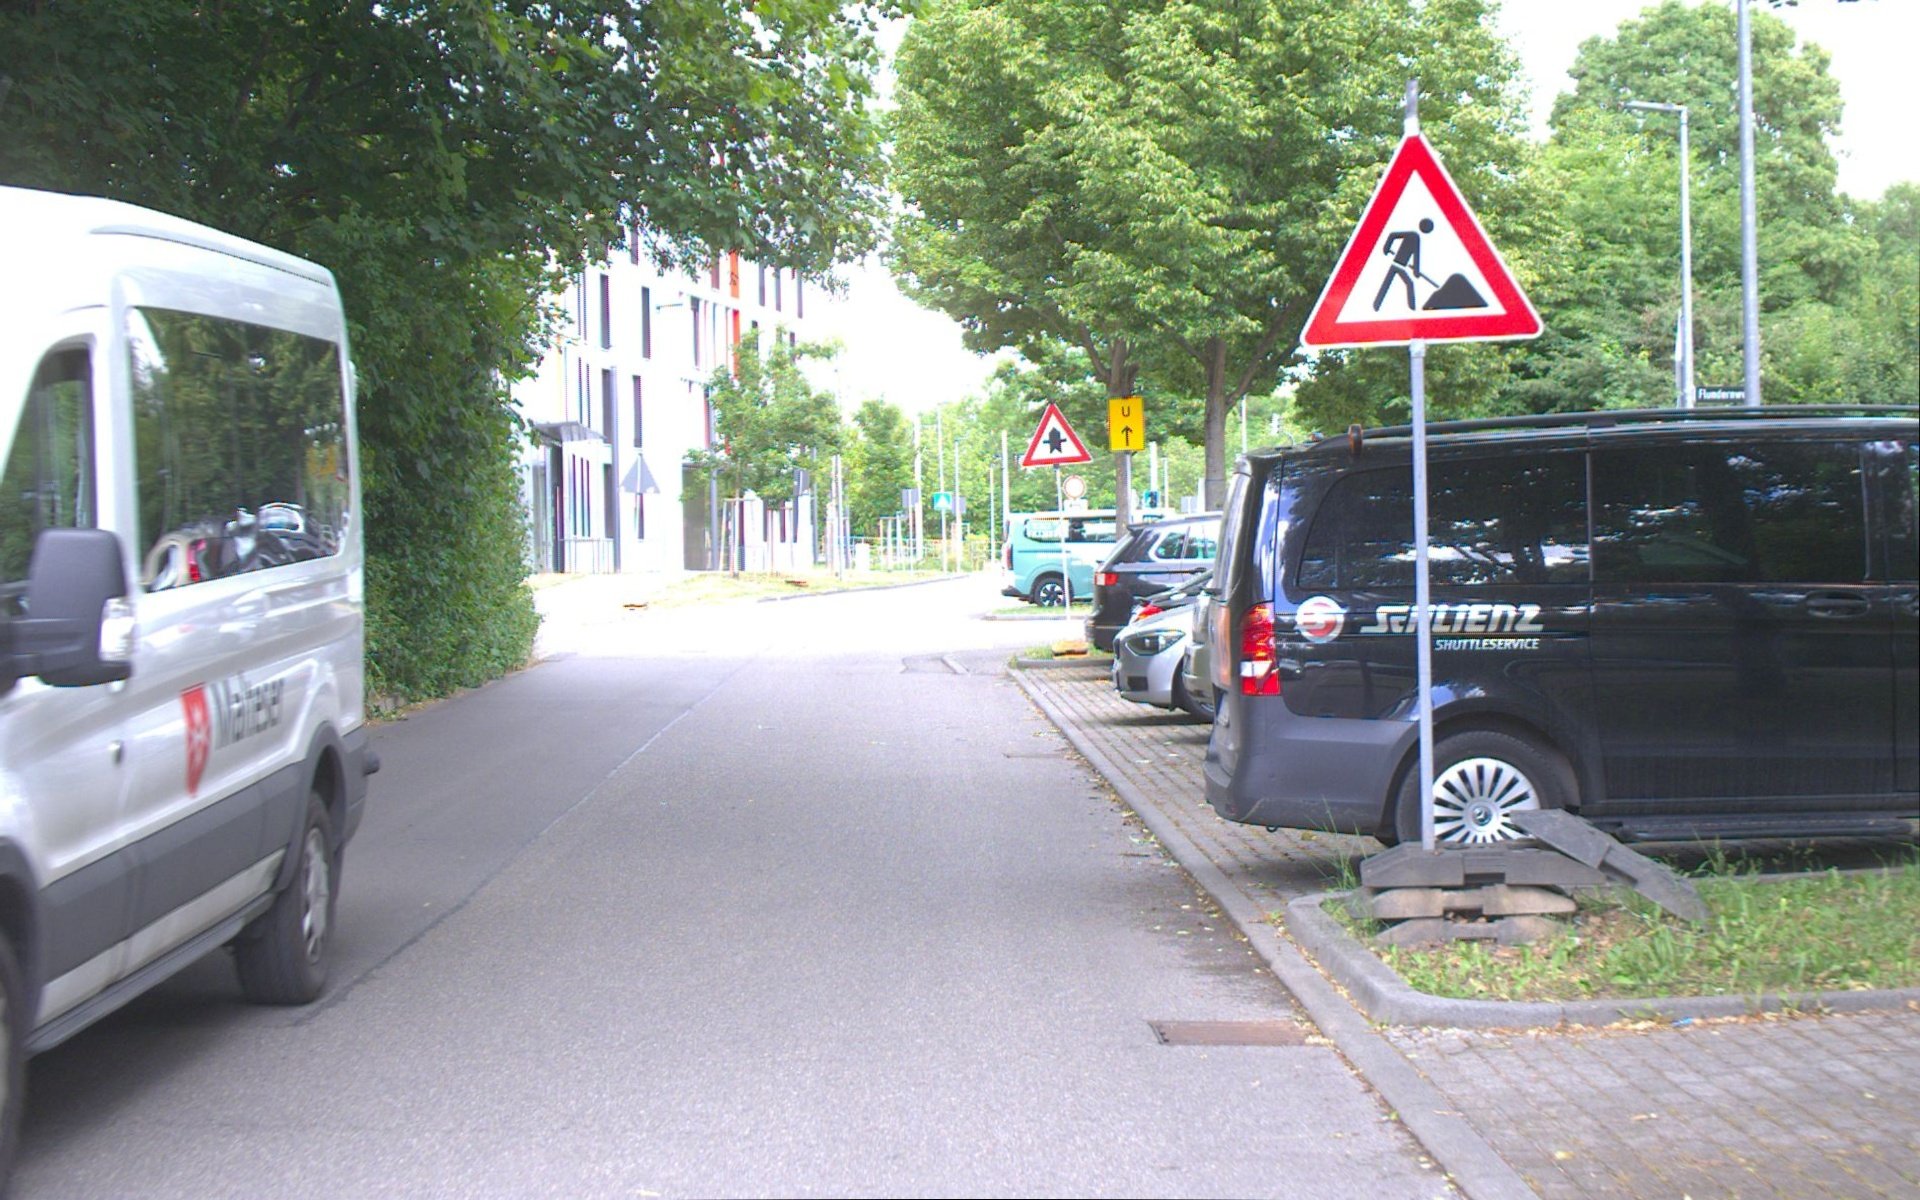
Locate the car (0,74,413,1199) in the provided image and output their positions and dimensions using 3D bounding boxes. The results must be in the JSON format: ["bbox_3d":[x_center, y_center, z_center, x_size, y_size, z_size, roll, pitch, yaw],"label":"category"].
[{"bbox_3d":[-3.056,0.088,9.212,2.132,2.467,6.277,1,1,0],"label":"car"}]

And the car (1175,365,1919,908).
[{"bbox_3d":[3.503,0.068,14.674,4.954,2.007,2.166,-3,1,0],"label":"car"}]

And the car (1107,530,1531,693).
[{"bbox_3d":[3.336,0.098,32.510,3.832,1.354,1.822,-2,0,3],"label":"car"}]

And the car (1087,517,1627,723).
[{"bbox_3d":[3.086,0.144,27.335,3.987,1.425,1.936,-2,0,-1],"label":"car"}]

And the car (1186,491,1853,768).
[{"bbox_3d":[3.513,0.166,22.120,3.961,1.506,1.763,-3,1,1],"label":"car"}]

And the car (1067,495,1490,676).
[{"bbox_3d":[3.206,-0.150,35.147,4.124,1.644,1.980,-2,0,3],"label":"car"}]

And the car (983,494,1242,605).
[{"bbox_3d":[2.977,-1.000,67.910,4.972,1.965,1.847,-2,1,0],"label":"car"}]

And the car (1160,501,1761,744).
[{"bbox_3d":[3.507,0.147,24.624,3.987,1.522,1.811,-2,0,0],"label":"car"}]
